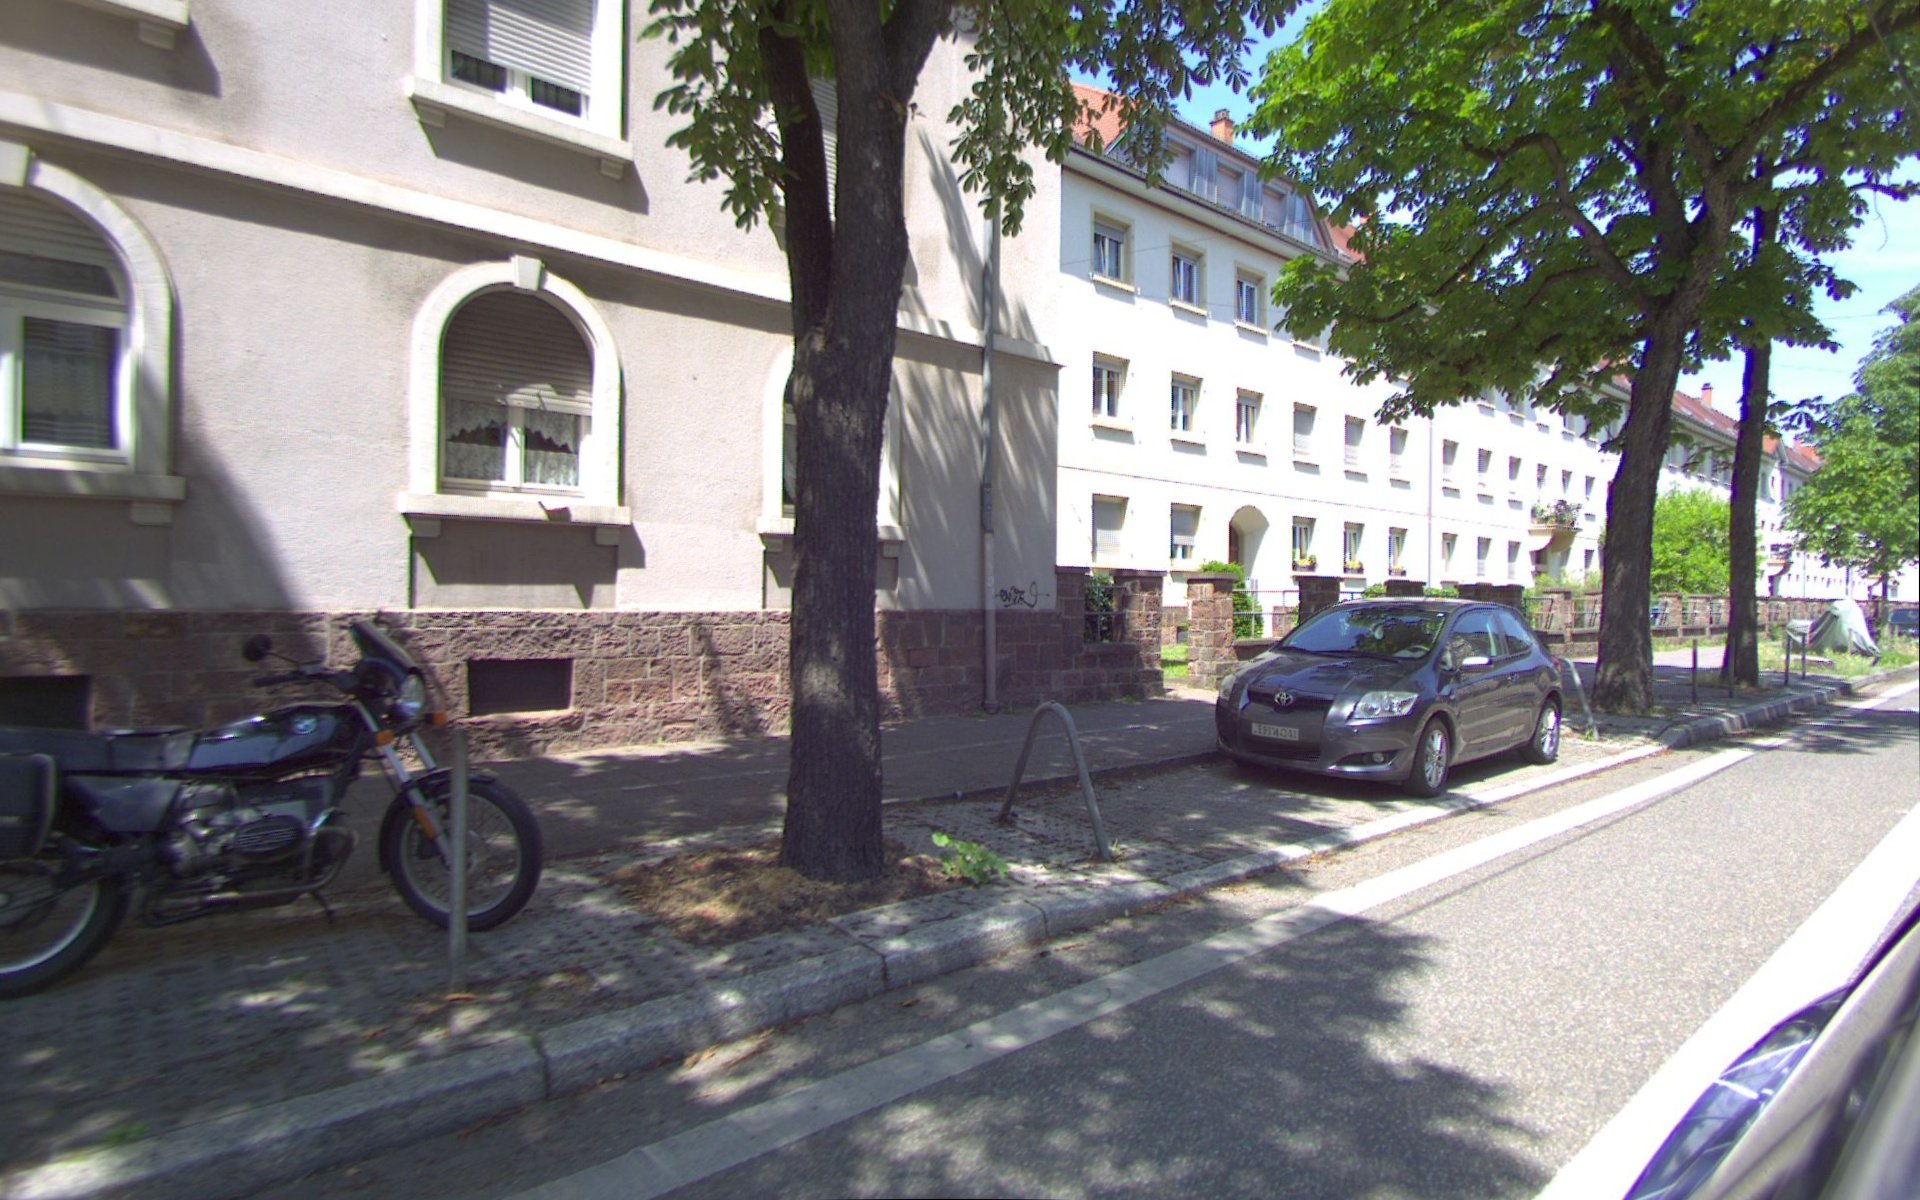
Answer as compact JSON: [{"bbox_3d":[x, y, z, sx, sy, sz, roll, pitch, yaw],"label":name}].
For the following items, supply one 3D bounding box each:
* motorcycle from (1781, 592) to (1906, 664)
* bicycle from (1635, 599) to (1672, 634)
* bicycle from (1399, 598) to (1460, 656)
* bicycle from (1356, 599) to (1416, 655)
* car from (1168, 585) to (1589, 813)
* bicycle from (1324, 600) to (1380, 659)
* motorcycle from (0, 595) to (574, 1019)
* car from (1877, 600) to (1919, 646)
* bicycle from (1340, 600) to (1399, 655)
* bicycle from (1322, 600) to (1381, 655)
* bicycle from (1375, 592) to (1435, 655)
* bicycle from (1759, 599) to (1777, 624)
[{"bbox_3d":[20.091,0.613,23.094,0.853,1.560,2.319,0,0,2],"label":"motorcycle"},{"bbox_3d":[22.430,0.524,32.723,1.773,1.116,0.500,0,0,-38],"label":"bicycle"},{"bbox_3d":[9.063,0.500,19.527,1.537,1.069,0.460,0,0,-41],"label":"bicycle"},{"bbox_3d":[8.549,0.525,20.280,1.537,1.069,0.460,0,0,-41],"label":"bicycle"},{"bbox_3d":[3.853,0.668,8.948,4.231,1.520,1.777,0,1,-42],"label":"car"},{"bbox_3d":[7.436,0.542,19.160,0.459,1.069,1.540,1,1,42],"label":"bicycle"},{"bbox_3d":[-2.787,0.645,3.863,2.331,1.316,1.001,0,0,-30],"label":"motorcycle"},{"bbox_3d":[31.570,0.731,33.267,4.780,1.445,1.771,0,0,-43],"label":"car"},{"bbox_3d":[8.308,0.535,20.511,1.537,1.069,0.460,0,0,-41],"label":"bicycle"},{"bbox_3d":[8.053,0.547,20.799,1.537,1.069,0.460,0,0,-41],"label":"bicycle"},{"bbox_3d":[8.796,0.445,19.993,1.537,1.206,0.460,0,0,-41],"label":"bicycle"},{"bbox_3d":[37.103,0.523,46.460,0.478,1.092,1.894,0,0,43],"label":"bicycle"}]
